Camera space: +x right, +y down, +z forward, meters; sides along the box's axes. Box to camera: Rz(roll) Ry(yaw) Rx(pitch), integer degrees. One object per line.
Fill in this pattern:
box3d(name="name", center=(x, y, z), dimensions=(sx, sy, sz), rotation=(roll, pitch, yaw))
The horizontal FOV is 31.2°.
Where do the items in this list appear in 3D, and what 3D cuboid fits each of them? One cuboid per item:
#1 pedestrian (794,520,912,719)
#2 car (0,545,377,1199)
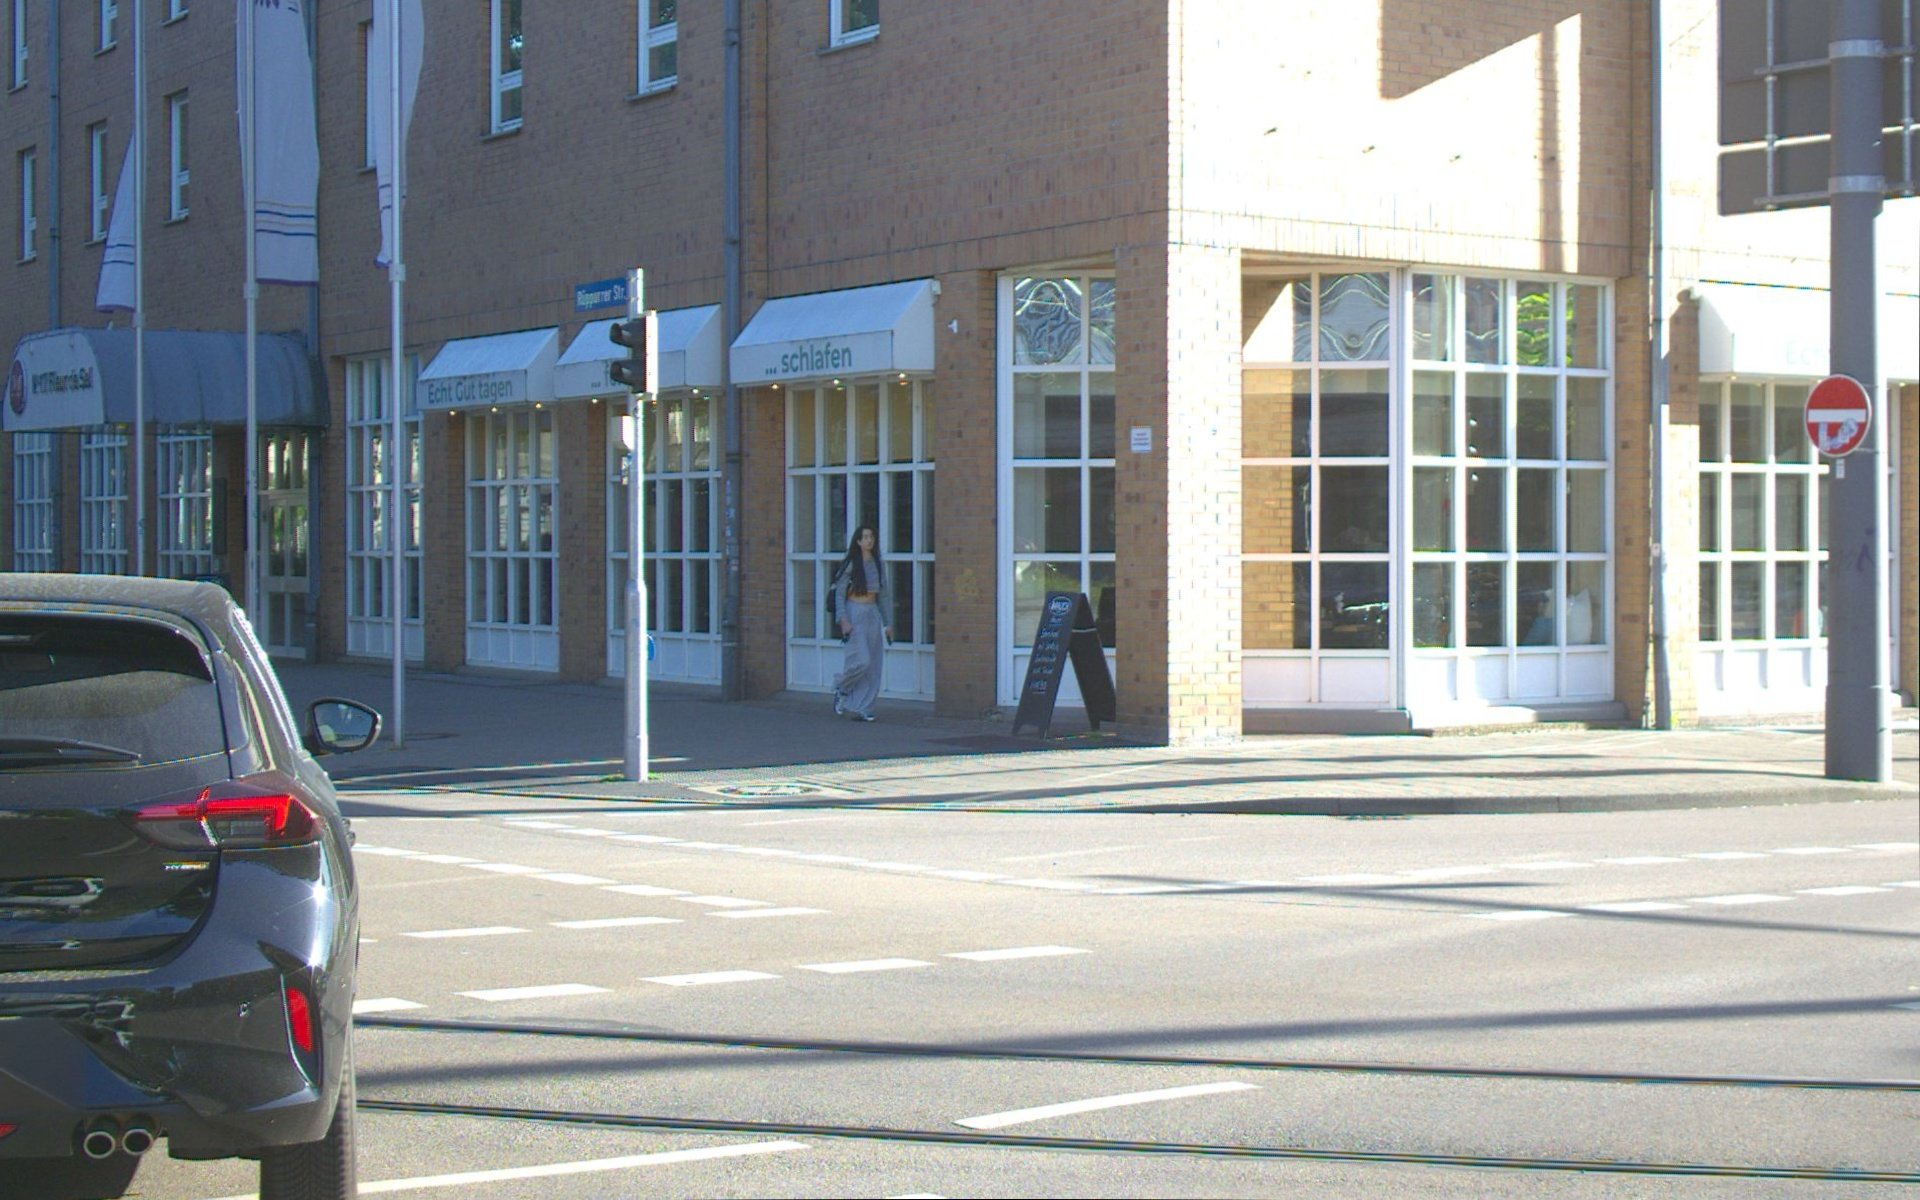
box3d(name="pedestrian", center=(-0.912, 0.152, 29.294), dimensions=(0.738, 1.660, 0.753), rotation=(-1, 1, -27))
box3d(name="car", center=(-2.385, 0.624, 8.470), dimensions=(1.671, 1.496, 3.692), rotation=(-1, 1, -13))
